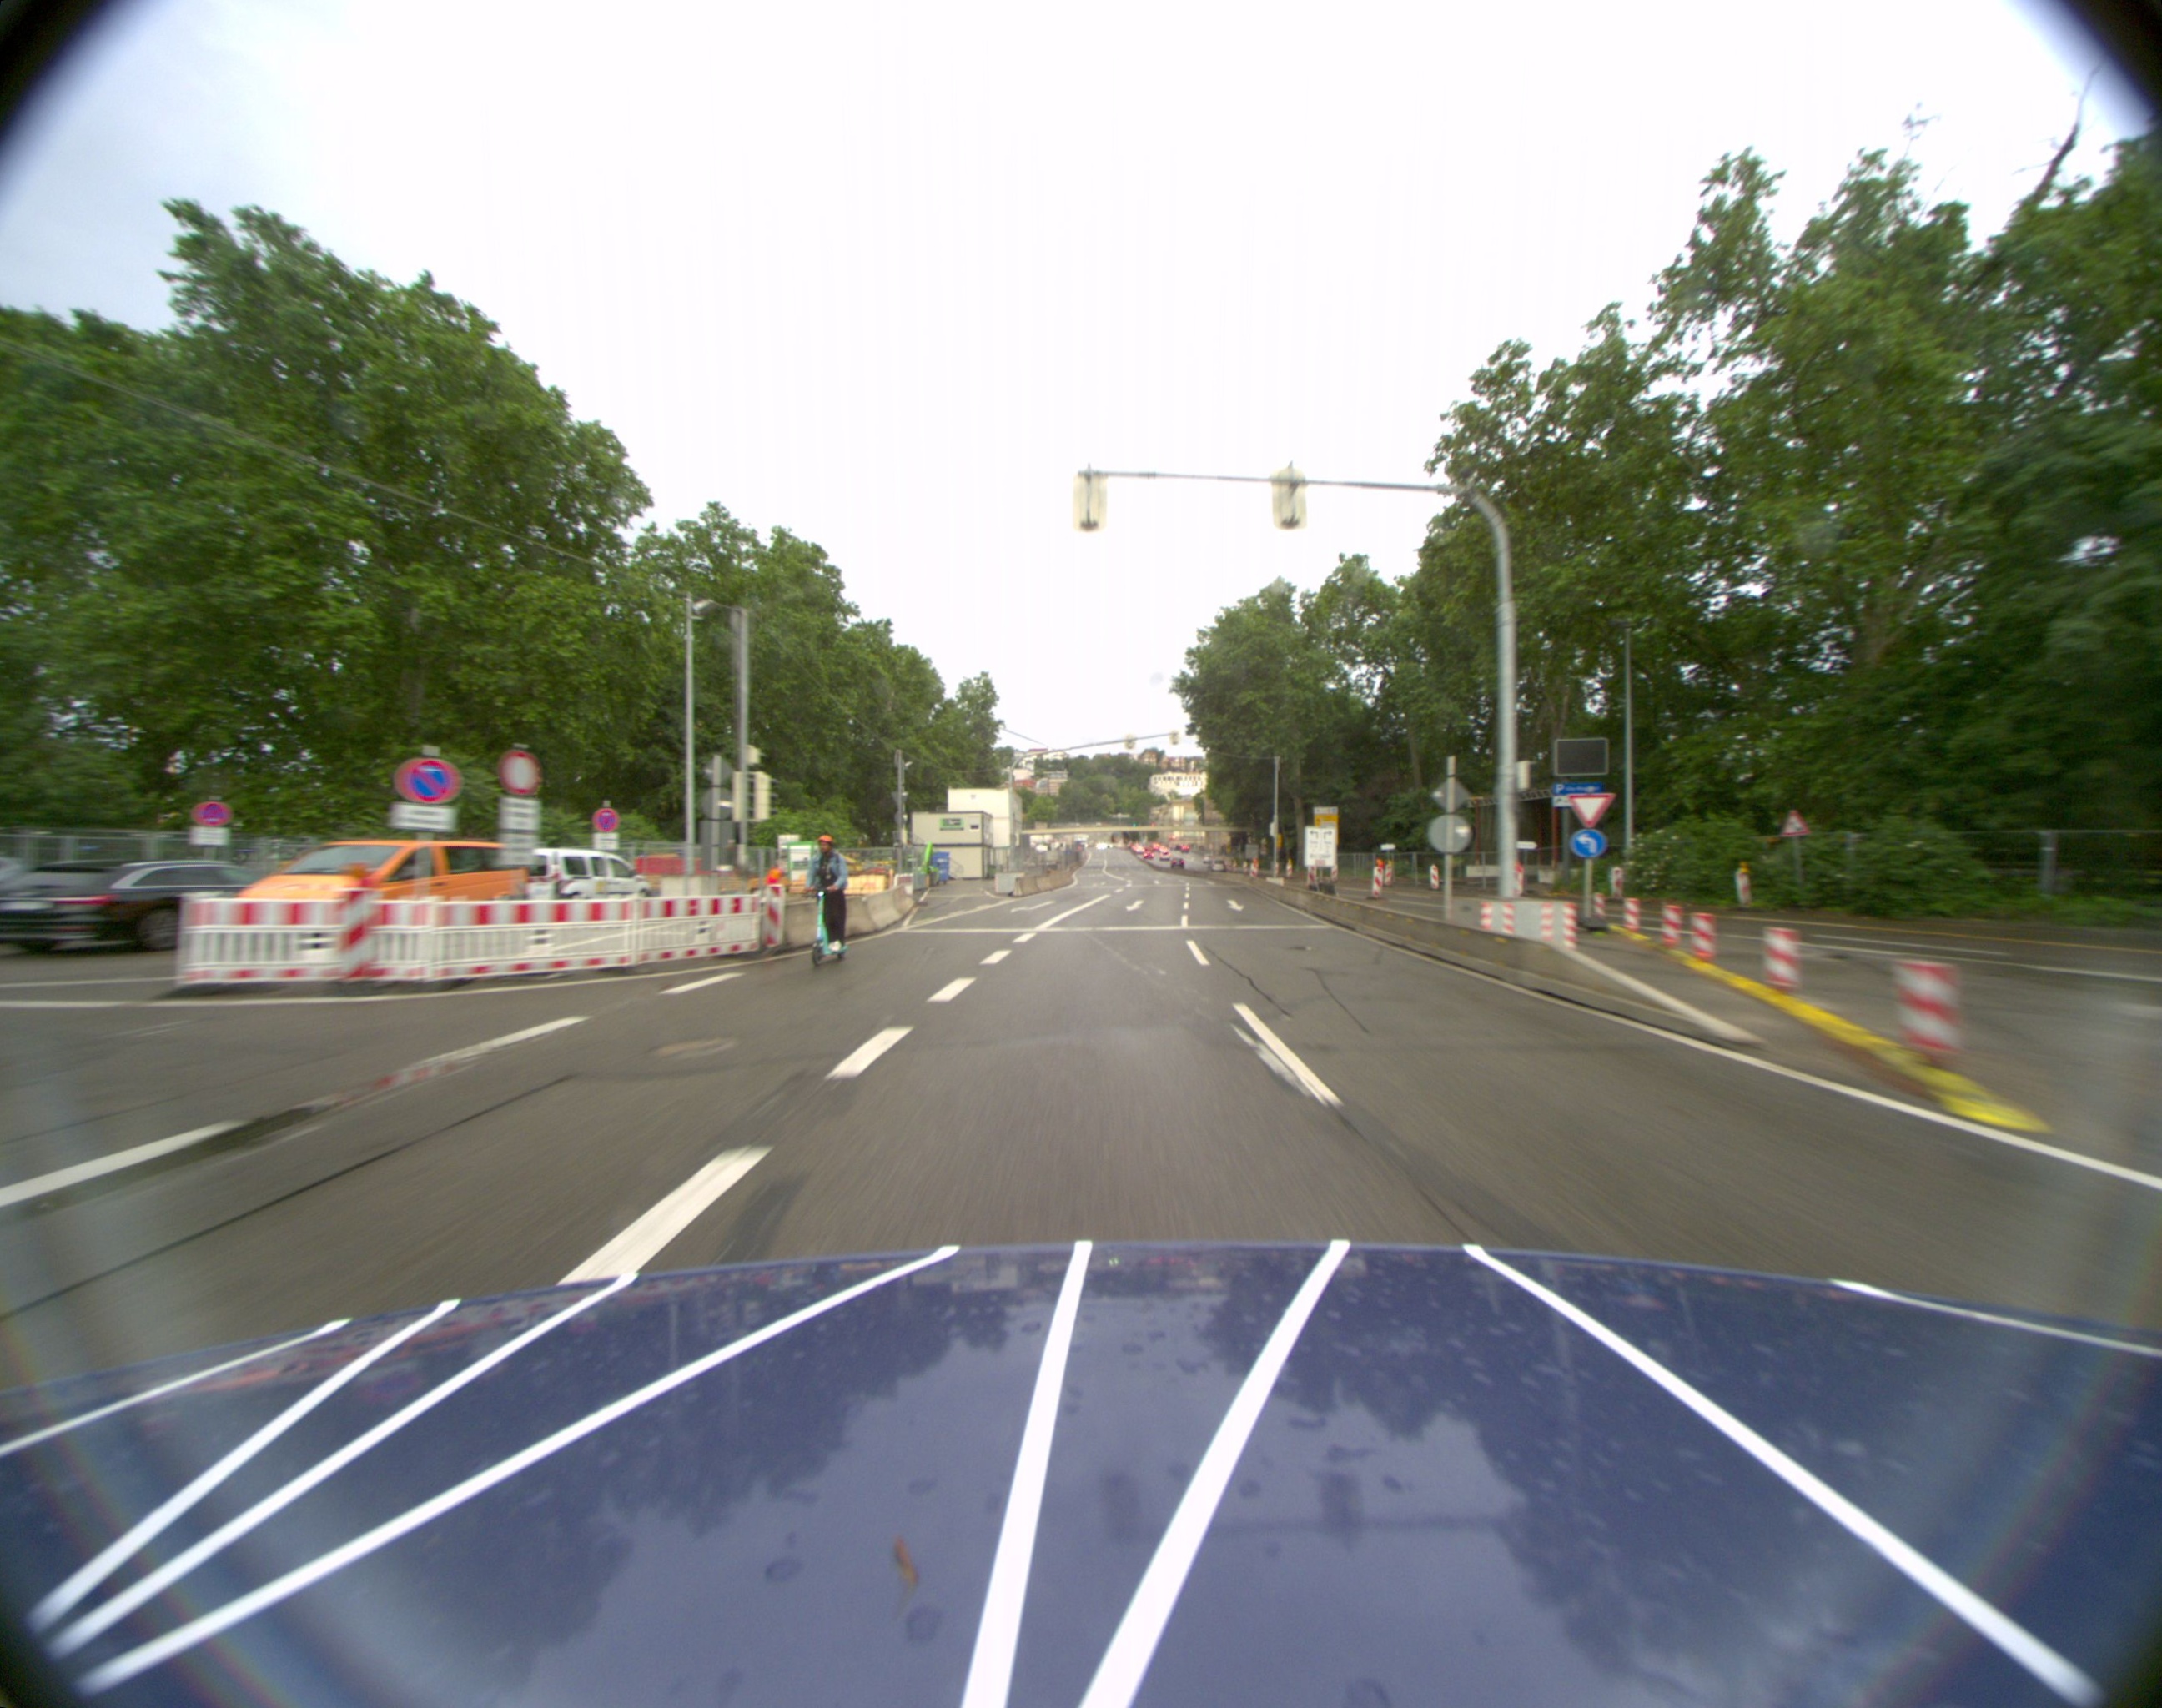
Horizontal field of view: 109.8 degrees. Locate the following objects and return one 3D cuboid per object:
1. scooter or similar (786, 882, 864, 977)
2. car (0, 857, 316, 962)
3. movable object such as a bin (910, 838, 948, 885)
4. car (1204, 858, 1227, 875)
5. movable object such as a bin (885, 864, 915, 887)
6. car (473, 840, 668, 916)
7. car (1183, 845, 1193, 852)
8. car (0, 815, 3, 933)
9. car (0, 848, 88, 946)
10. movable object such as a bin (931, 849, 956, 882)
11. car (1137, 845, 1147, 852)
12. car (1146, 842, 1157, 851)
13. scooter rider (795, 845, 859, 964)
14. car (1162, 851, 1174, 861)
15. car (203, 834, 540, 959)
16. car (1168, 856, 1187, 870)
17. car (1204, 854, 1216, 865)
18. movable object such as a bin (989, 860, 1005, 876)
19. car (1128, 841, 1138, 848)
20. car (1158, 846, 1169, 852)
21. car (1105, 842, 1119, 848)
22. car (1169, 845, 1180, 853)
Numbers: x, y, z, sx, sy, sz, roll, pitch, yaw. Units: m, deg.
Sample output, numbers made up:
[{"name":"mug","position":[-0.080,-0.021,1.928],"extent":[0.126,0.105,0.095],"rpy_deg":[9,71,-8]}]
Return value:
[{"name":"scooter or similar","position":[-3.954,1.129,11.872],"extent":[0.598,1.311,1.667],"rpy_deg":[-1,0,2]},{"name":"car","position":[-15.755,0.821,13.003],"extent":[1.919,1.443,3.907],"rpy_deg":[0,1,-12]},{"name":"movable object such as a bin","position":[-9.545,0.505,47.936],"extent":[1.812,2.792,3.865],"rpy_deg":[-1,-1,-4]},{"name":"car","position":[14.705,1.352,83.391],"extent":[1.998,1.532,4.445],"rpy_deg":[2,2,5]},{"name":"movable object such as a bin","position":[-10.424,1.233,43.873],"extent":[1.177,1.336,1.267],"rpy_deg":[-1,-1,20]},{"name":"car","position":[-13.553,0.620,20.655],"extent":[1.851,1.796,5.087],"rpy_deg":[-1,-1,0]},{"name":"car","position":[26.815,-1.359,190.929],"extent":[2.035,1.643,4.320],"rpy_deg":[0,0,2]},{"name":"car","position":[-21.652,0.380,11.840],"extent":[2.051,2.300,5.602],"rpy_deg":[1,0,-6]},{"name":"car","position":[-18.867,0.708,11.779],"extent":[1.945,1.610,3.933],"rpy_deg":[1,0,-5]},{"name":"movable object such as a bin","position":[-9.422,0.771,52.024],"extent":[1.463,2.190,1.263],"rpy_deg":[0,-1,-23]},{"name":"car","position":[14.415,-1.292,180.367],"extent":[1.898,1.559,4.896],"rpy_deg":[1,2,0]},{"name":"car","position":[17.806,-1.909,192.097],"extent":[2.036,1.926,5.041],"rpy_deg":[1,2,-1]},{"name":"scooter rider","position":[-3.953,0.752,11.887],"extent":[0.598,1.775,0.997],"rpy_deg":[-1,1,2]},{"name":"car","position":[16.756,0.370,146.626],"extent":[2.035,1.644,4.912],"rpy_deg":[2,1,5]},{"name":"car","position":[-13.123,0.674,14.684],"extent":[1.917,1.963,5.160],"rpy_deg":[-1,0,-4]},{"name":"car","position":[13.260,1.210,104.640],"extent":[1.998,1.532,4.578],"rpy_deg":[1,2,1]},{"name":"car","position":[22.149,0.913,130.850],"extent":[1.872,1.532,4.092],"rpy_deg":[2,2,9]},{"name":"movable object such as a bin","position":[-7.218,1.208,65.558],"extent":[1.250,1.230,1.239],"rpy_deg":[1,3,0]},{"name":"car","position":[14.214,-2.579,208.117],"extent":[1.999,1.559,5.379],"rpy_deg":[1,2,-1]},{"name":"car","position":[20.744,-1.284,191.065],"extent":[1.999,1.375,4.208],"rpy_deg":[1,2,-4]},{"name":"car","position":[9.029,-2.666,221.911],"extent":[2.004,1.562,3.987],"rpy_deg":[-1,3,-37]},{"name":"car","position":[25.915,-1.432,211.269],"extent":[2.000,2.003,3.996],"rpy_deg":[1,2,-6]}]
